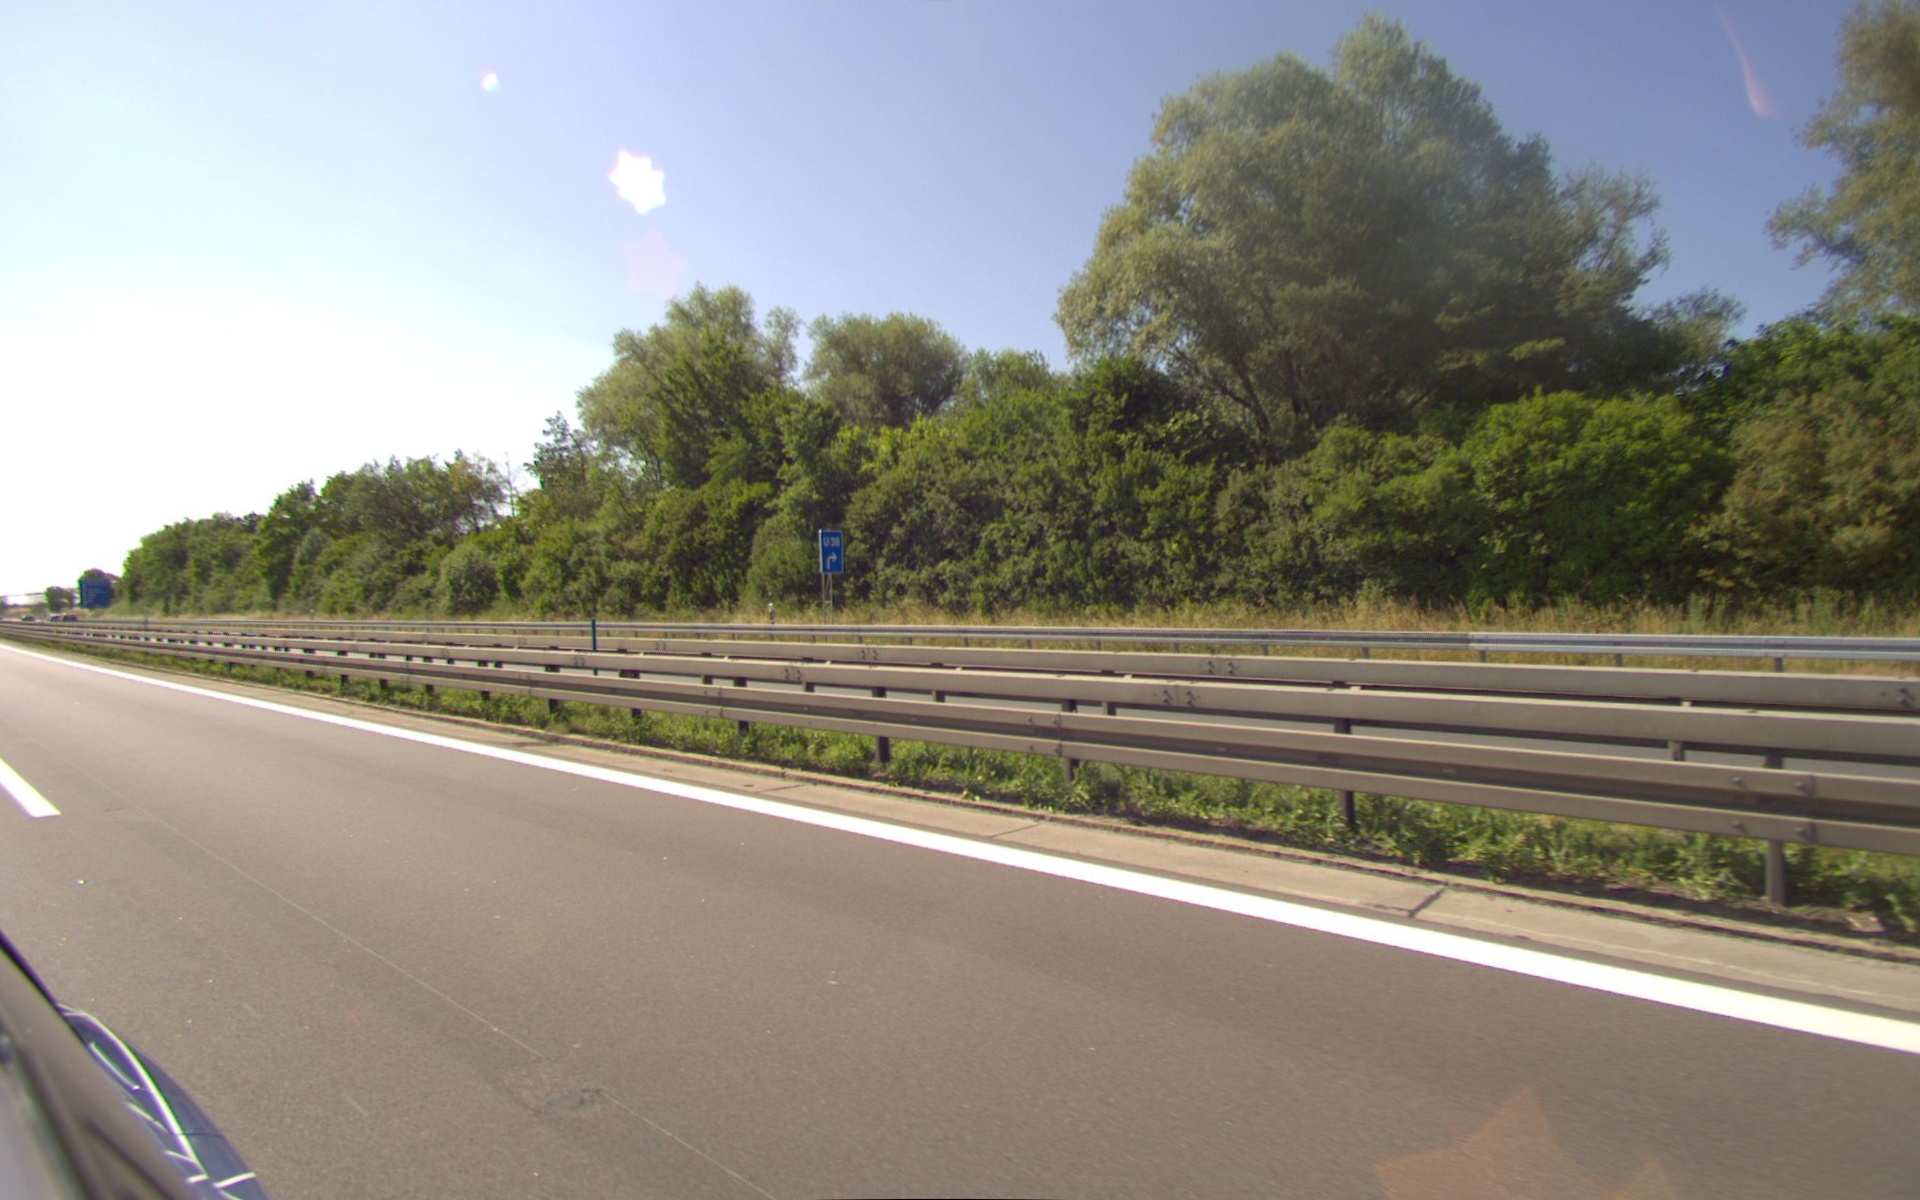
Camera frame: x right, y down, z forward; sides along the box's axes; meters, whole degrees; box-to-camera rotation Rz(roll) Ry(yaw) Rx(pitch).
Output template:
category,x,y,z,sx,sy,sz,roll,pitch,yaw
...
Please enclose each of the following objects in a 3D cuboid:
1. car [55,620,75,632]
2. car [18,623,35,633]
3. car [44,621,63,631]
category,x,y,z,sx,sy,sz,roll,pitch,yaw
car,-123.434,3.580,139.580,4.540,1.504,1.631,-1,0,44
car,-146.067,4.361,158.338,4.540,1.504,1.631,-1,0,44
car,-149.092,4.297,166.432,1.971,1.624,4.639,-1,0,-45
